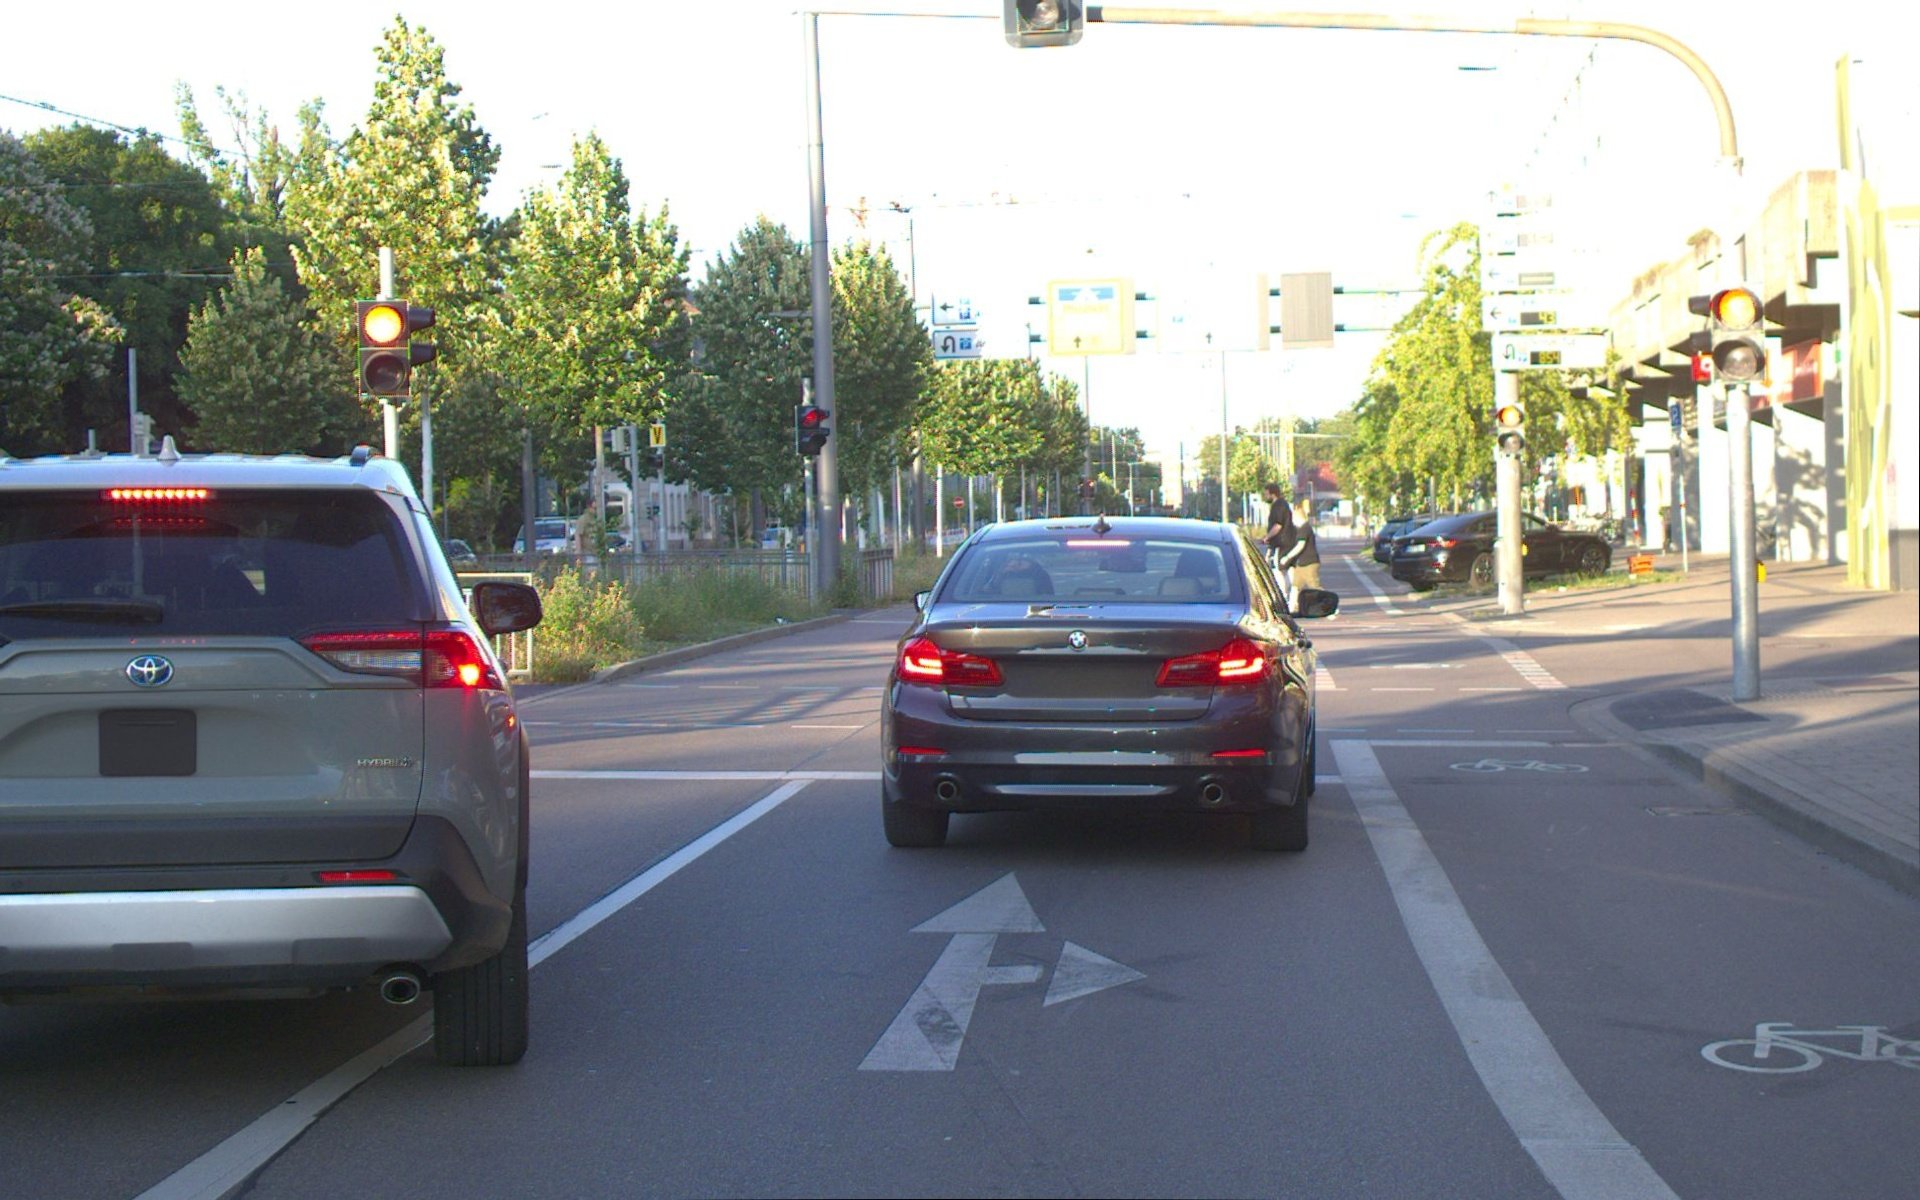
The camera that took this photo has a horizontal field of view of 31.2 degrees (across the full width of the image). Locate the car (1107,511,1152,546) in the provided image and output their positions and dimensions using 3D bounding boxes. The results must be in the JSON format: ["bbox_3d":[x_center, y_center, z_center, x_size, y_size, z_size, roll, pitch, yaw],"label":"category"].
[{"bbox_3d":[7.723,-3.269,156.452,1.979,1.428,4.843,0,3,4],"label":"car"}]

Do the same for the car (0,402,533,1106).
[{"bbox_3d":[-2.243,0.264,10.206,1.854,1.653,4.270,0,3,-8],"label":"car"}]

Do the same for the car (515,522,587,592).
[{"bbox_3d":[-13.687,-1.470,115.291,1.993,2.160,4.752,0,3,-2],"label":"car"}]

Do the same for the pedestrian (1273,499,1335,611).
[{"bbox_3d":[4.929,-0.647,49.201,0.835,1.581,0.812,-1,1,7],"label":"pedestrian"}]

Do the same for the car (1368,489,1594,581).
[{"bbox_3d":[10.002,-1.277,65.893,4.256,1.653,1.860,-2,3,-38],"label":"car"}]

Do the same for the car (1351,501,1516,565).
[{"bbox_3d":[12.972,-1.846,94.152,4.254,1.653,1.861,-2,3,-31],"label":"car"}]

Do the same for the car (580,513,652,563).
[{"bbox_3d":[-12.810,-2.335,128.138,1.994,1.738,4.751,0,3,3],"label":"car"}]

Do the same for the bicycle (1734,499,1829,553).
[{"bbox_3d":[18.530,-1.668,77.538,2.017,1.145,0.690,2,1,11],"label":"bicycle"}]

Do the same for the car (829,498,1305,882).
[{"bbox_3d":[0.646,0.298,16.221,1.932,1.476,4.522,0,3,6],"label":"car"}]

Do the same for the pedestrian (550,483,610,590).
[{"bbox_3d":[-6.170,-1.030,55.872,0.835,1.706,0.647,-1,1,3],"label":"pedestrian"}]

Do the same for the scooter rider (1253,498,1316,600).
[{"bbox_3d":[4.876,-0.769,51.728,0.820,1.509,0.653,-1,1,-3],"label":"scooter rider"}]

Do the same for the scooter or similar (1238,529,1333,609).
[{"bbox_3d":[4.890,-0.470,51.704,1.329,1.149,0.513,-1,1,-3],"label":"scooter or similar"}]

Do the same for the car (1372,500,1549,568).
[{"bbox_3d":[12.790,-1.705,87.800,4.254,1.653,1.861,-2,3,-31],"label":"car"}]
